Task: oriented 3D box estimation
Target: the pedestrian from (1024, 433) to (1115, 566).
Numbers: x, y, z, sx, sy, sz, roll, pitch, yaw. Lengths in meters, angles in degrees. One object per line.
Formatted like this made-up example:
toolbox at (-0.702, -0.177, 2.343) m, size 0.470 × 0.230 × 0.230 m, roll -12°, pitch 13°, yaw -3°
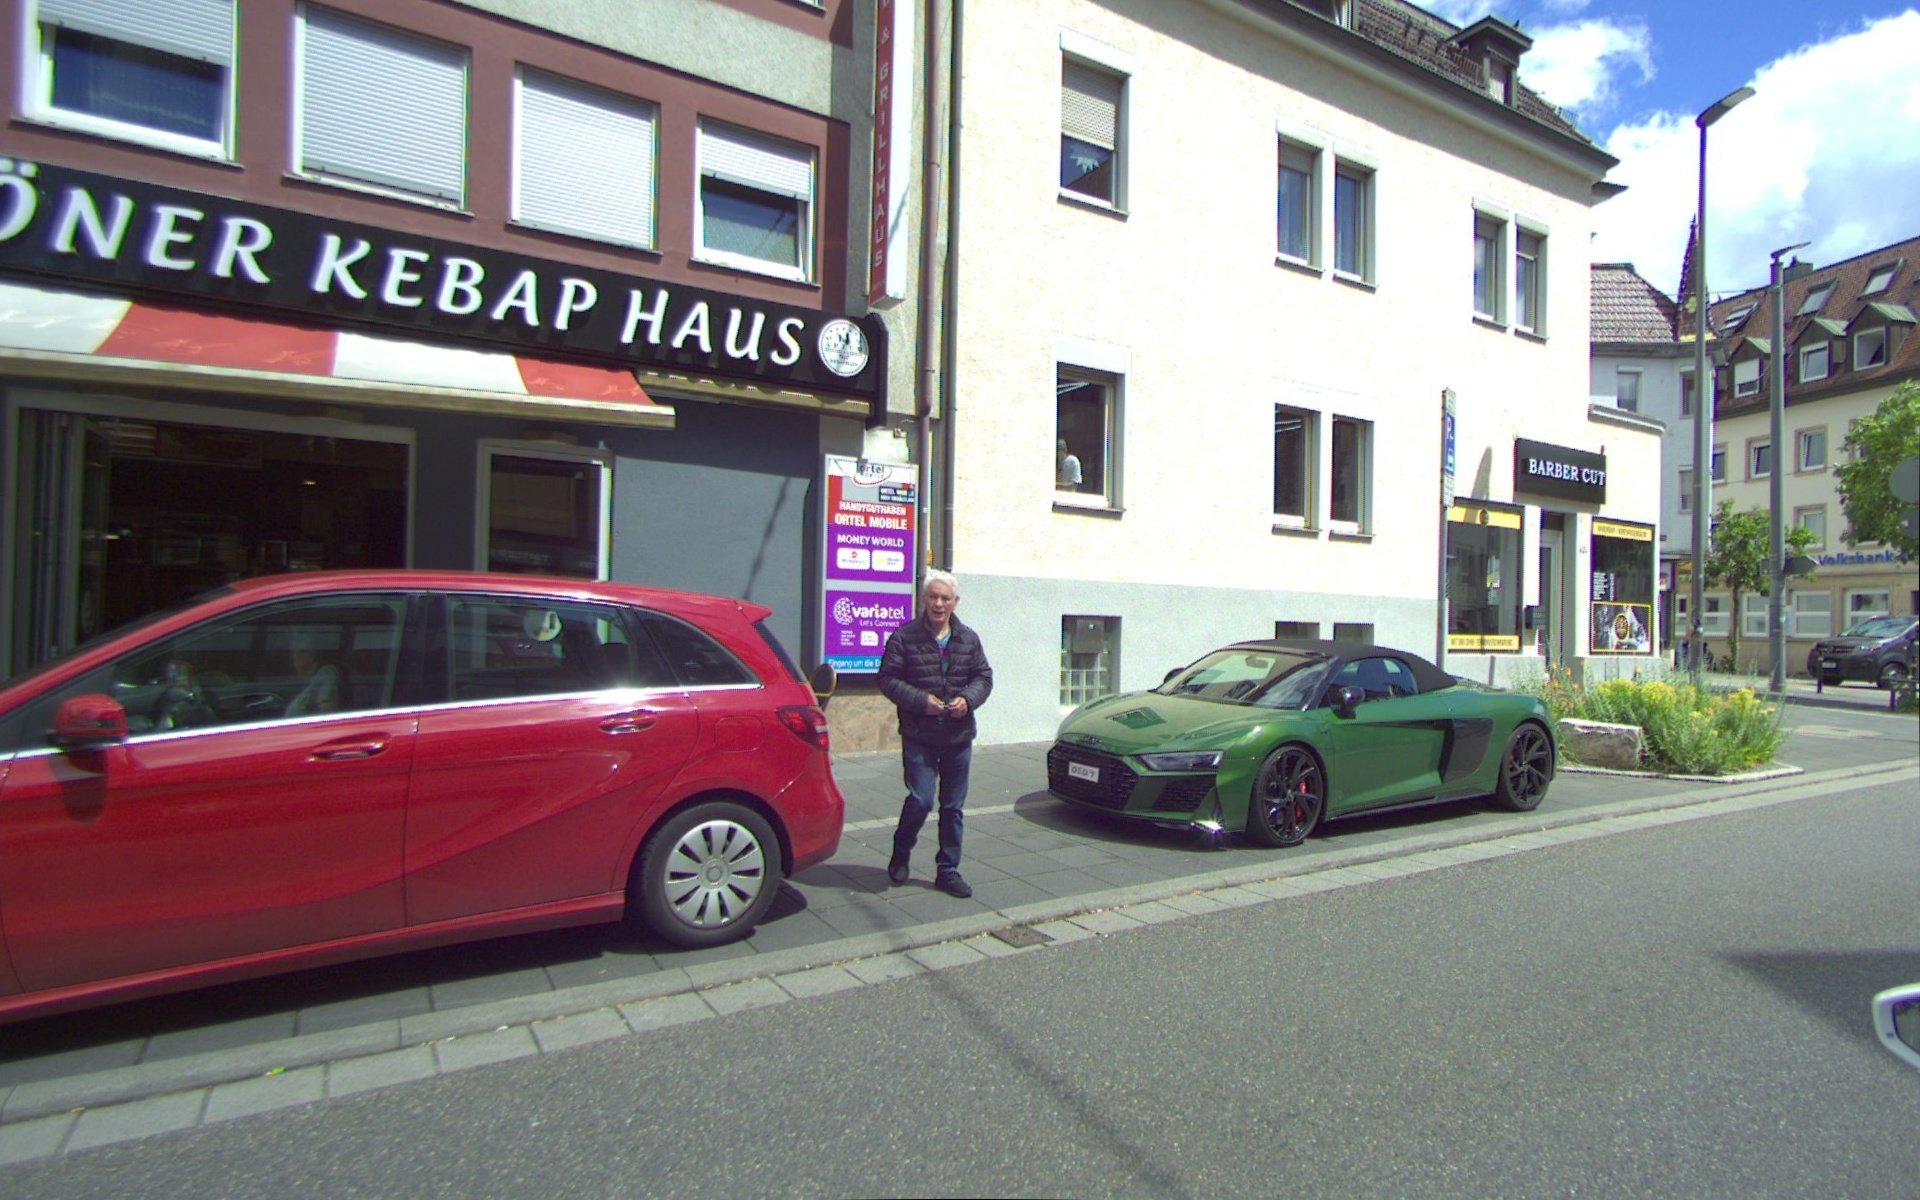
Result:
pedestrian at (1.249, -1.115, 11.494) m, size 0.736 × 1.412 × 0.674 m, roll 2°, pitch 0°, yaw -29°

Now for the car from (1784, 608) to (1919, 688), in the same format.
car at (24.007, 1.227, 25.170) m, size 4.899 × 1.873 × 2.048 m, roll 2°, pitch 0°, yaw 3°

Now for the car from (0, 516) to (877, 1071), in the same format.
car at (-2.600, 0.590, 4.162) m, size 4.174 × 1.625 × 1.788 m, roll 1°, pitch -1°, yaw -34°

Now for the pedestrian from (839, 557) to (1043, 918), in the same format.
pedestrian at (-0.110, 0.643, 5.121) m, size 0.769 × 1.670 × 0.683 m, roll 2°, pitch 0°, yaw -28°

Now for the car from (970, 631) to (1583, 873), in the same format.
car at (2.455, 0.903, 7.452) m, size 4.471 × 1.240 × 1.810 m, roll 1°, pitch 1°, yaw -31°

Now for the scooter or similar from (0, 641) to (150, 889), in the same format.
scooter or similar at (-4.770, 0.807, 5.073) m, size 0.975 × 1.166 × 0.559 m, roll 2°, pitch 0°, yaw -33°
